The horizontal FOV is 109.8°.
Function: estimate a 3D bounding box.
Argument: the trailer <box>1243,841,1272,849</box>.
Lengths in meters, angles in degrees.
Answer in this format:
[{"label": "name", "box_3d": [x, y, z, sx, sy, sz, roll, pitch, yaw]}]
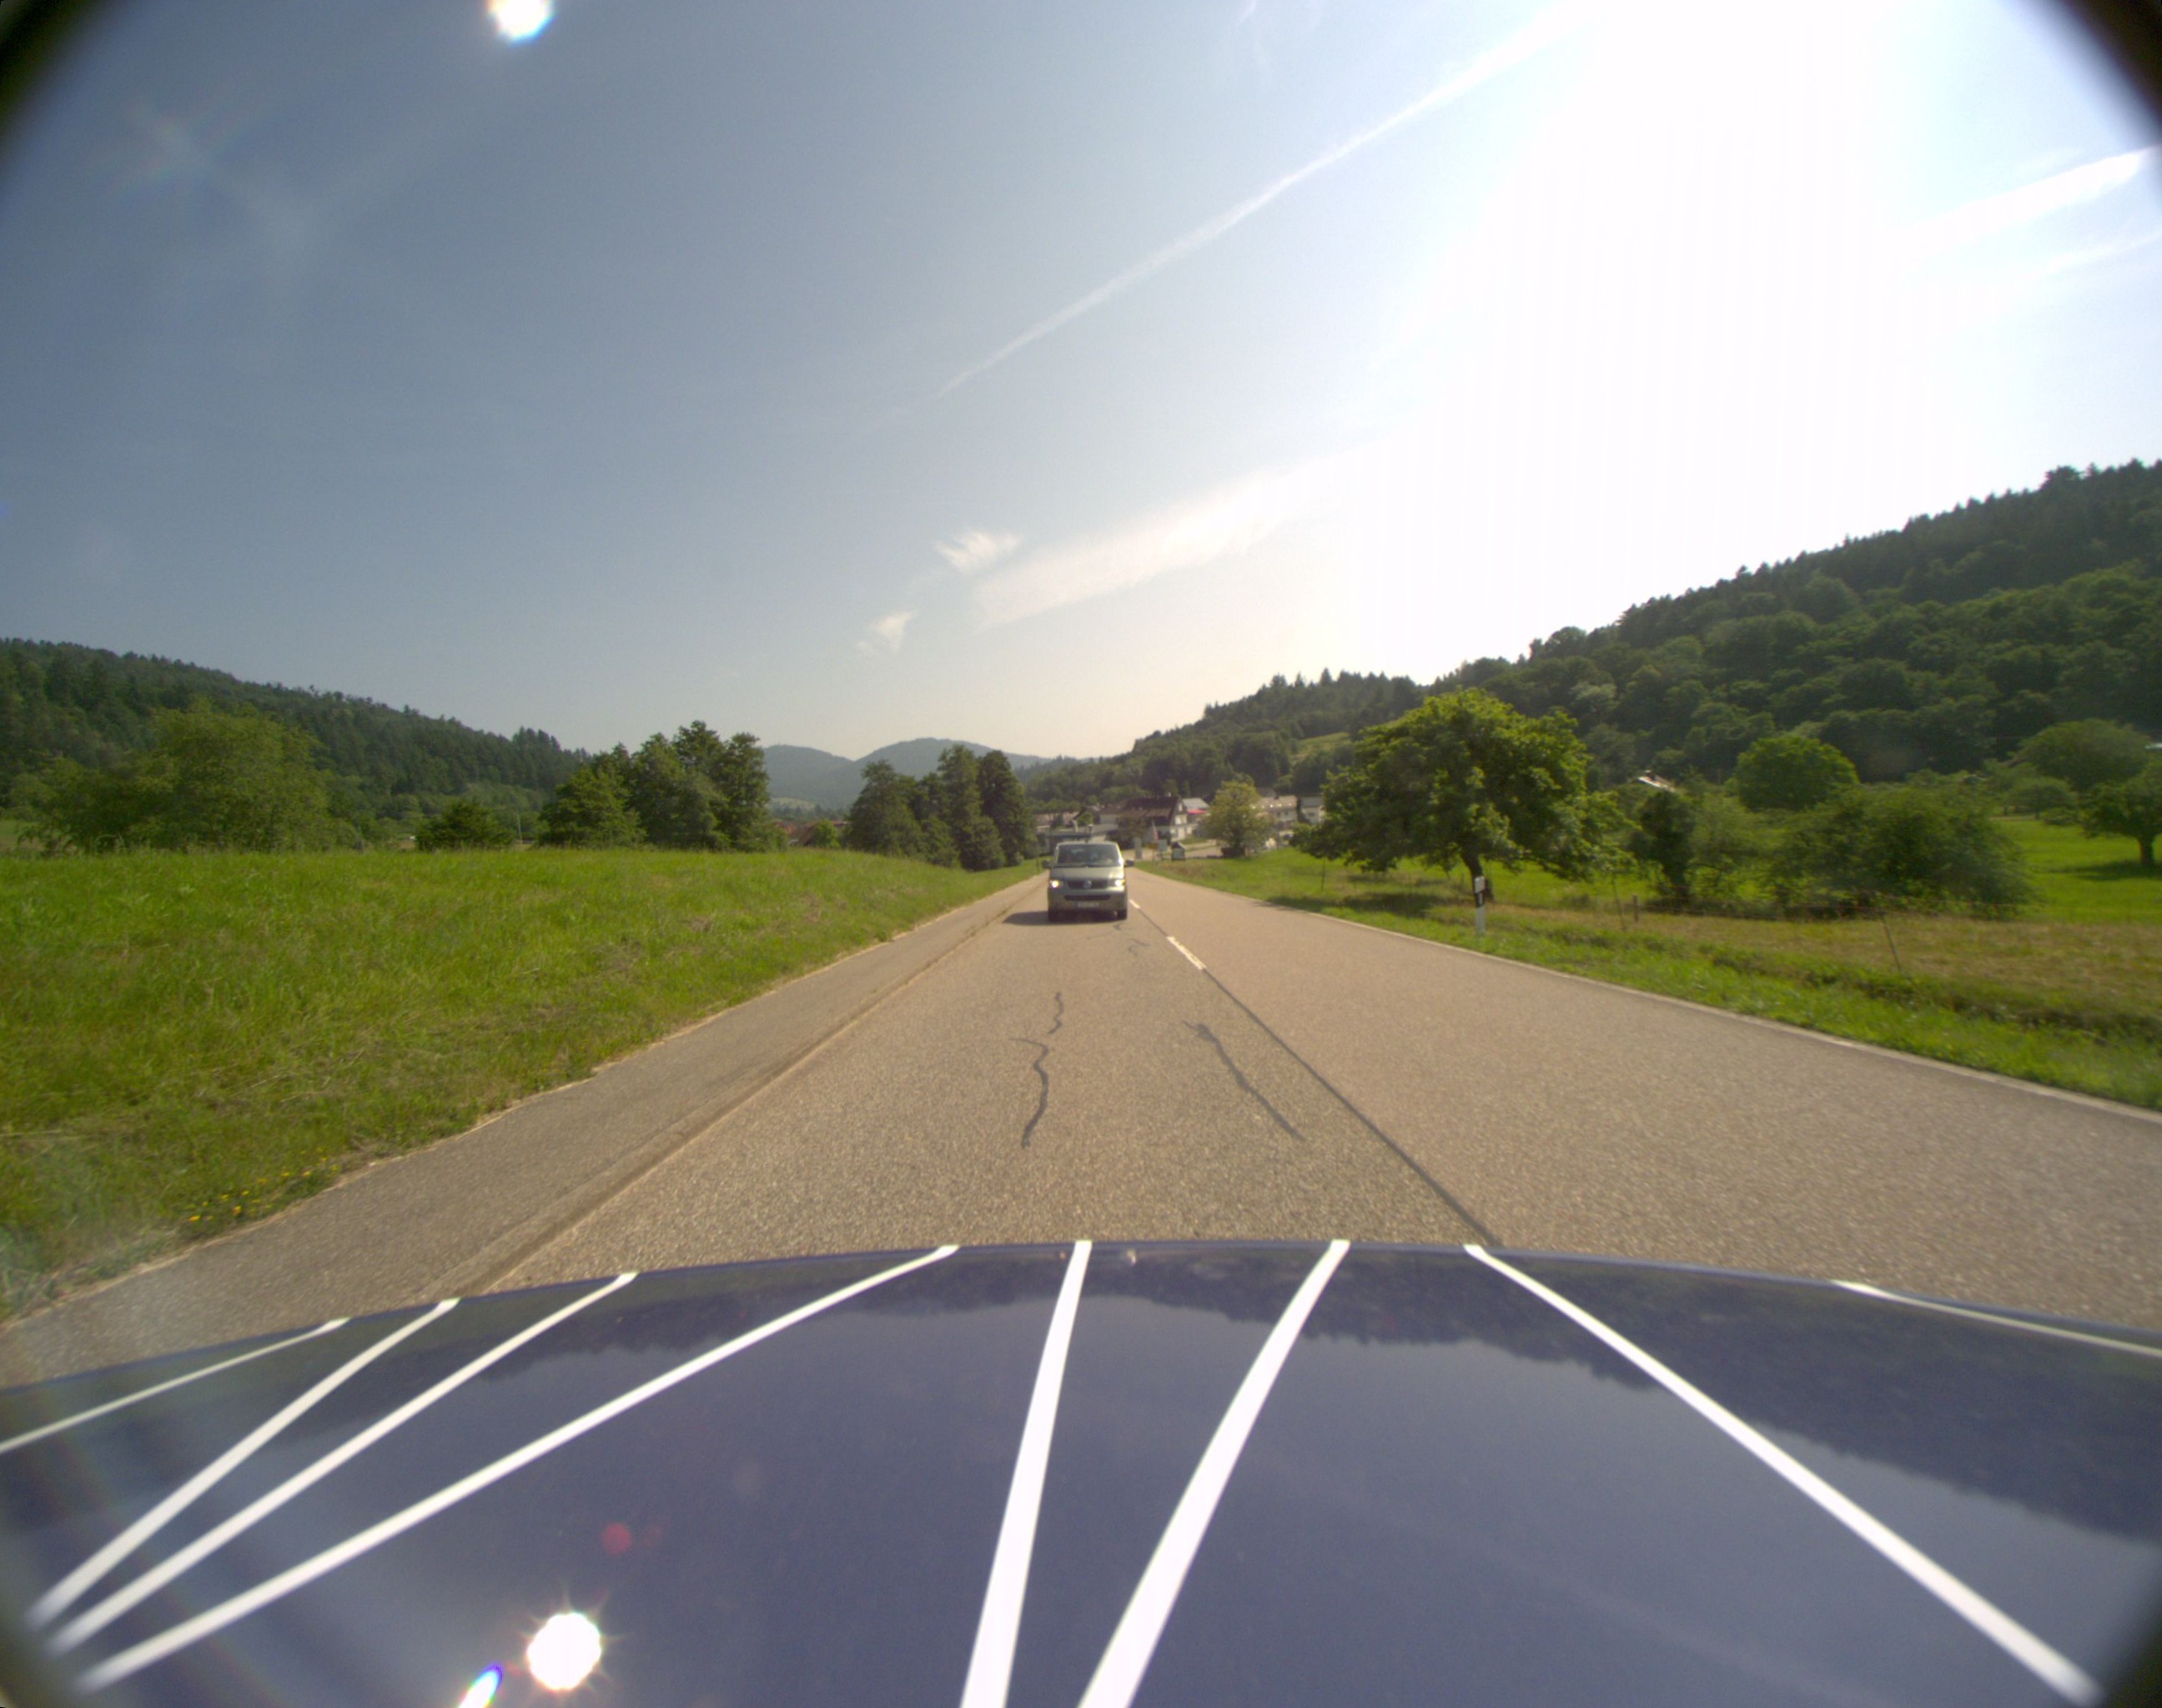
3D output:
[{"label": "trailer", "box_3d": [27.394, -1.350, 117.691, 3.935, 0.934, 1.870, -2, 4, 32]}]

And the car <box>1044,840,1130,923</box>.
[{"label": "car", "box_3d": [0.198, 0.628, 20.845, 2.024, 1.970, 5.048, -1, 1, 1]}]
